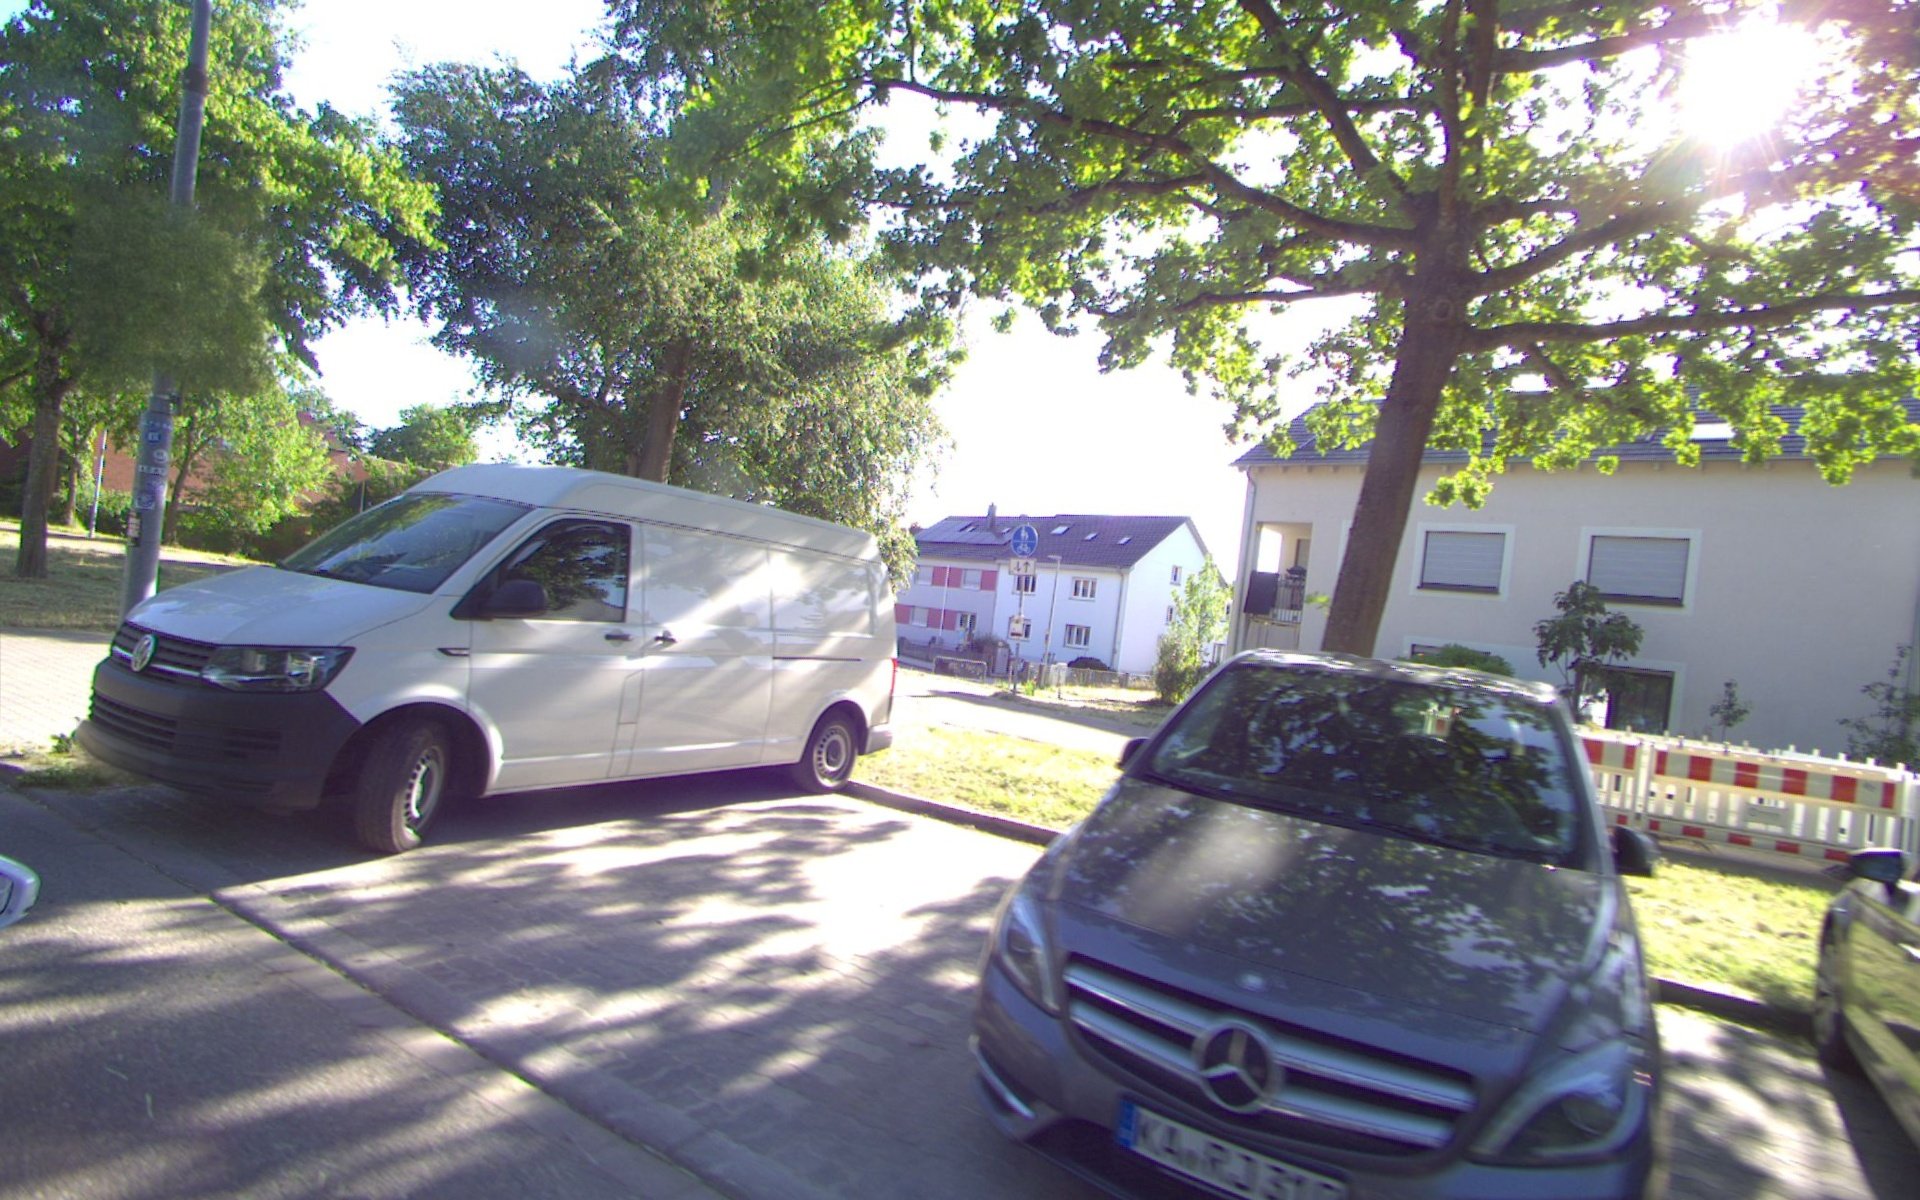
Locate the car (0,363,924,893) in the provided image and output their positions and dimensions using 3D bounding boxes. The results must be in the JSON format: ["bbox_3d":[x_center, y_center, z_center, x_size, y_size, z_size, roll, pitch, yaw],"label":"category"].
[{"bbox_3d":[-2.575,0.208,6.790,2.047,2.130,5.196,7,-1,30],"label":"car"}]

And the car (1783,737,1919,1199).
[{"bbox_3d":[3.815,1.311,2.725,1.870,1.450,3.991,7,-1,33],"label":"car"}]

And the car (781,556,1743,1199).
[{"bbox_3d":[1.463,0.959,4.048,1.901,1.587,4.222,7,-2,30],"label":"car"}]
